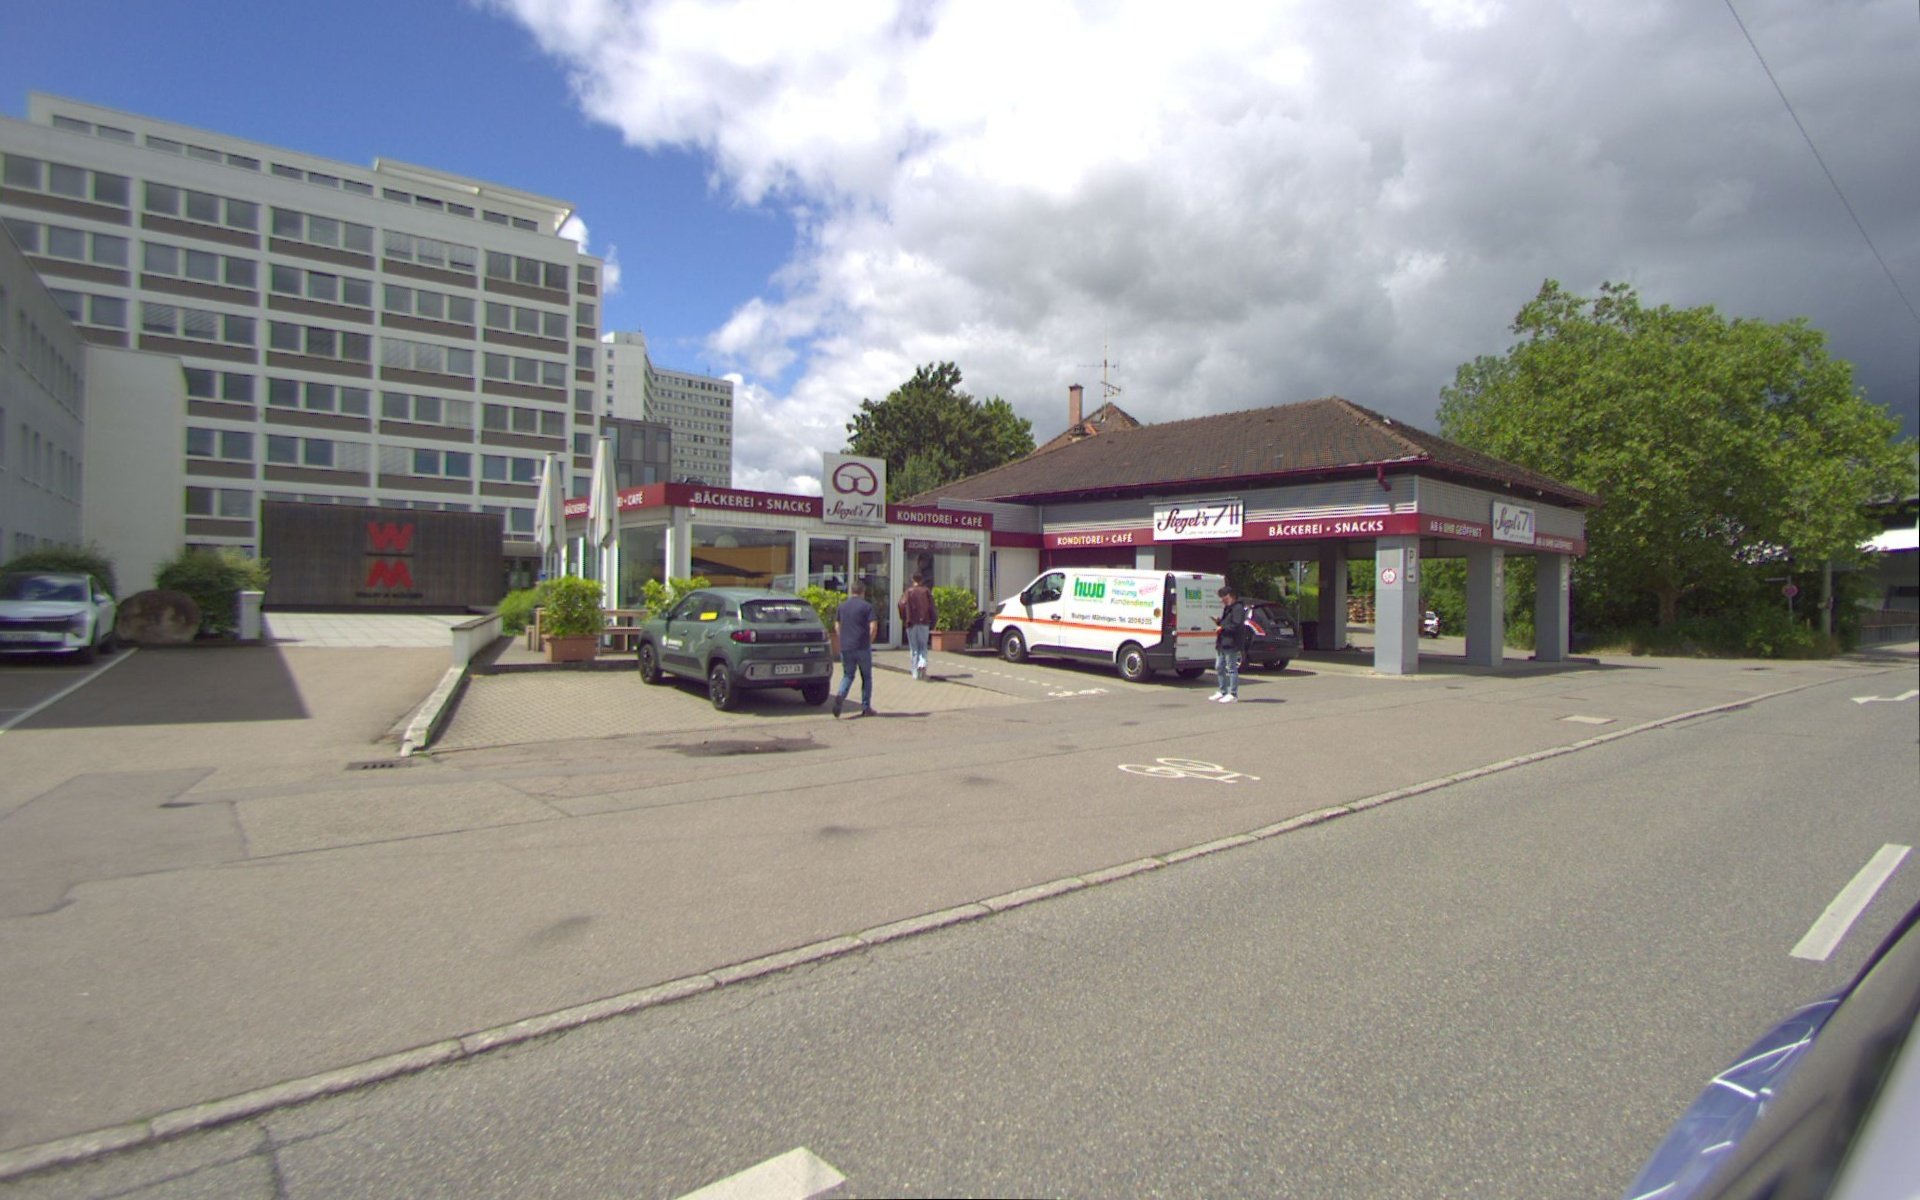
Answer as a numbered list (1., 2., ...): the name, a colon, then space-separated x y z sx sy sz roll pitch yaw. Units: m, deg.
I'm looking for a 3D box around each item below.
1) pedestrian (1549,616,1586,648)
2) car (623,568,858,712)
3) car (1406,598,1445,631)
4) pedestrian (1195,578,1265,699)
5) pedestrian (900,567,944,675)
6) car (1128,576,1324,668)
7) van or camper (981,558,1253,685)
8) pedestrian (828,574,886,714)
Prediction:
1. pedestrian: 25.169 1.319 41.959 0.945 1.264 0.888 1 0 -12
2. car: -3.161 0.434 14.081 1.730 1.503 3.679 0 5 -38
3. car: 28.593 0.849 62.108 1.980 1.740 4.077 5 3 25
4. pedestrian: 4.002 0.550 15.011 0.726 1.729 0.713 1 0 -40
5. pedestrian: -0.630 0.337 16.617 0.558 1.729 0.752 1 0 -13
6. car: 5.434 0.369 20.937 1.804 1.503 3.458 -1 5 -42
7. van or camper: 2.843 0.270 19.402 2.173 1.981 4.910 -1 4 -40
8. pedestrian: -1.326 0.546 12.915 0.617 1.729 0.716 1 0 -13
